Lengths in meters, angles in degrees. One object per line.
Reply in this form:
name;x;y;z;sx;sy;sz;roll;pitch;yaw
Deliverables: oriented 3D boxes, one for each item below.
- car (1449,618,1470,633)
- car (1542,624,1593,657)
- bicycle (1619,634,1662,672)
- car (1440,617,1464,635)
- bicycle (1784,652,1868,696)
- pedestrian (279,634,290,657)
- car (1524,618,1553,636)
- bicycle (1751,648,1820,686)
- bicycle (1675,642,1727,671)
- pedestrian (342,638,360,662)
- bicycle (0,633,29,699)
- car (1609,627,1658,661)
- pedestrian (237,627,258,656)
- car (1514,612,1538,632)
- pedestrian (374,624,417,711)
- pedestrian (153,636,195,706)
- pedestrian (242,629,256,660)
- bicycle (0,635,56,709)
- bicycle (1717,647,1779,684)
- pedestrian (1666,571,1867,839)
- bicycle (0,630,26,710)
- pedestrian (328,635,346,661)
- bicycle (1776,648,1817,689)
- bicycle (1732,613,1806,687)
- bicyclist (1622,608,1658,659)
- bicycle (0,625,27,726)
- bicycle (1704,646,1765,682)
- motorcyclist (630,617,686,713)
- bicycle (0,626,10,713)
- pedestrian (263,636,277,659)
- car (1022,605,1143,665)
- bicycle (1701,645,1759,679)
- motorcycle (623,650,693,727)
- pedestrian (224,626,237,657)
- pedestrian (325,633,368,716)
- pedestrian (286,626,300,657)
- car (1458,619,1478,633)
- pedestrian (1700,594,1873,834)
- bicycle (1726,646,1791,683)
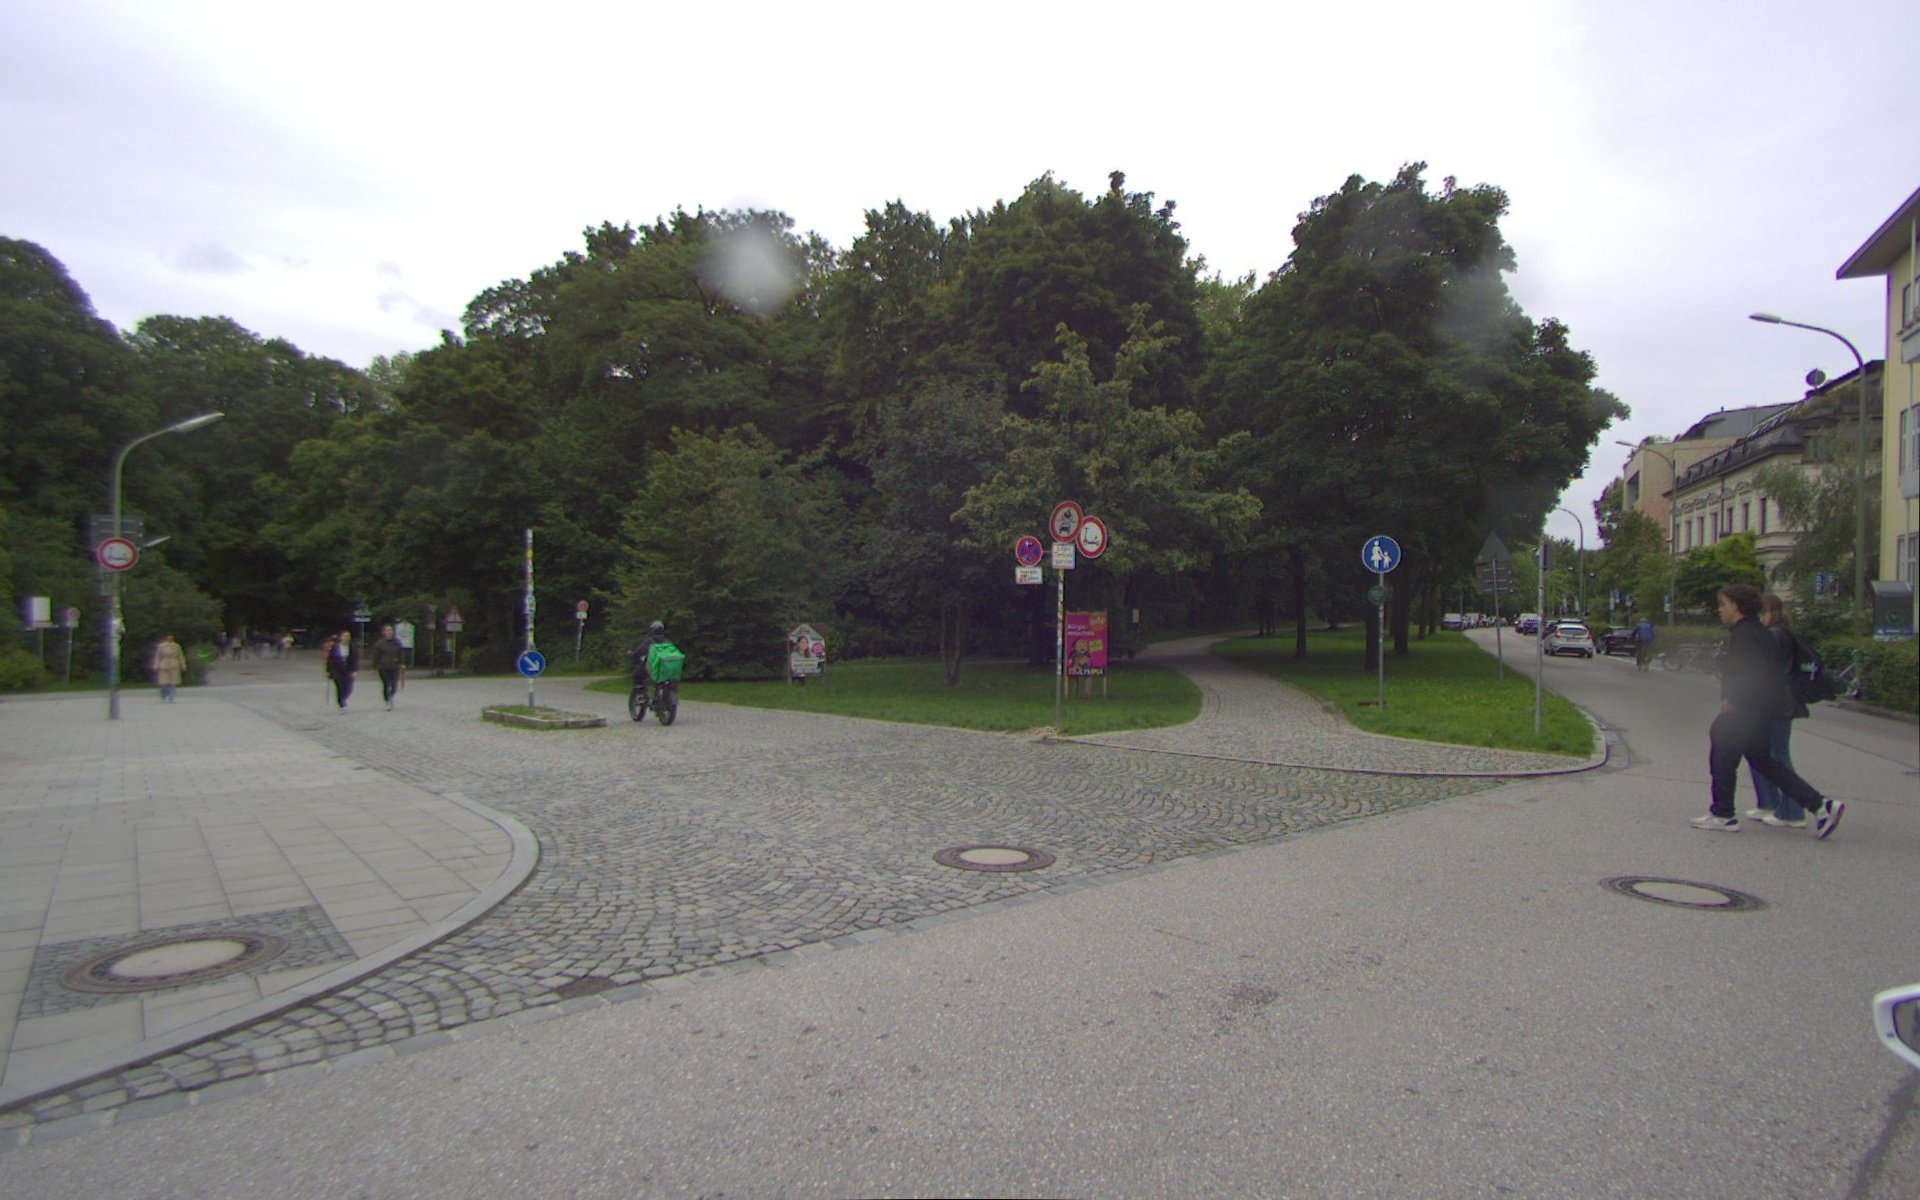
car;54.883;2.771;110.331;1.962;1.622;4.463;1;-1;26
car;28.225;1.846;46.745;1.721;1.425;3.722;1;-1;27
bicycle;24.523;1.876;36.258;0.906;1.269;2.320;0;-1;25
car;46.902;2.459;95.820;1.962;1.622;4.463;1;-1;26
bicycle;21.191;1.808;24.597;1.508;1.028;0.367;-1;-1;25
pedestrian;-45.362;3.070;67.413;0.536;1.514;0.537;1;-1;-42
car;53.024;2.483;92.149;1.962;1.622;4.251;1;-1;25
bicycle;22.508;1.828;27.401;1.506;1.028;0.367;0;-1;6
bicycle;26.931;2.050;36.510;1.506;1.028;0.410;0;-1;10
pedestrian;-42.925;3.508;70.797;0.721;1.674;0.880;-1;-1;33
bicycle;-26.968;1.794;27.816;3.099;1.684;1.049;0;-1;34
car;33.395;2.137;49.898;1.622;1.579;3.555;0;-1;27
pedestrian;-52.561;3.051;74.105;1.133;2.040;1.046;-1;-2;44
car;56.739;2.218;100.768;2.035;1.992;4.969;1;-1;29
pedestrian;-11.580;1.364;20.593;0.654;1.720;0.743;1;-1;-38
pedestrian;-20.181;1.797;25.784;0.744;1.728;1.098;1;-1;-43
pedestrian;-46.413;2.908;65.592;0.691;2.040;0.710;0;-1;-39
bicycle;-23.616;1.740;24.958;3.100;1.684;1.049;0;-1;35
bicycle;22.800;1.886;29.058;1.508;1.028;0.409;0;-1;-3
pedestrian;5.965;0.730;7.462;0.651;1.833;0.986;1;-1;-27
bicycle;-22.106;1.527;22.549;3.100;1.684;1.049;0;-1;35
pedestrian;-41.923;3.225;67.590;0.867;1.674;0.731;0;-1;-15
bicycle;21.973;1.782;26.377;1.520;1.028;0.364;1;-1;-32
bicycle;22.463;1.385;27.904;1.644;2.040;0.457;0;-1;1
bicyclist;24.560;1.194;36.306;0.900;1.787;1.214;0;-1;25
bicycle;-17.767;1.293;17.876;3.100;1.684;1.049;0;-1;35
bicycle;22.785;1.871;29.562;1.508;1.028;0.409;0;-1;-3
motorcyclist;-4.969;1.041;16.511;0.705;1.521;0.892;1;-1;-29
bicycle;-20.113;1.343;20.066;2.954;1.684;1.049;0;-1;35
pedestrian;-46.027;3.141;67.019;0.659;1.514;0.621;1;-1;-43
car;4.325;1.233;35.683;3.927;2.040;1.785;1;-1;-9
bicycle;23.818;1.911;31.078;1.508;1.028;0.409;0;-1;-3
motorcycle;-4.996;1.419;16.547;0.709;1.113;1.963;1;-1;-29
pedestrian;-47.160;2.676;64.933;0.691;2.040;0.710;0;-1;-39
pedestrian;-12.293;1.475;20.124;0.685;1.602;0.744;1;-1;-35
pedestrian;-43.910;2.715;66.100;0.691;2.040;0.710;0;-1;-39
car;62.412;3.165;123.469;1.964;1.622;4.459;0;-1;30
pedestrian;6.514;0.851;7.939;0.730;1.769;0.824;1;-1;-24
bicycle;22.680;1.828;28.526;1.507;1.028;0.409;0;-1;1
